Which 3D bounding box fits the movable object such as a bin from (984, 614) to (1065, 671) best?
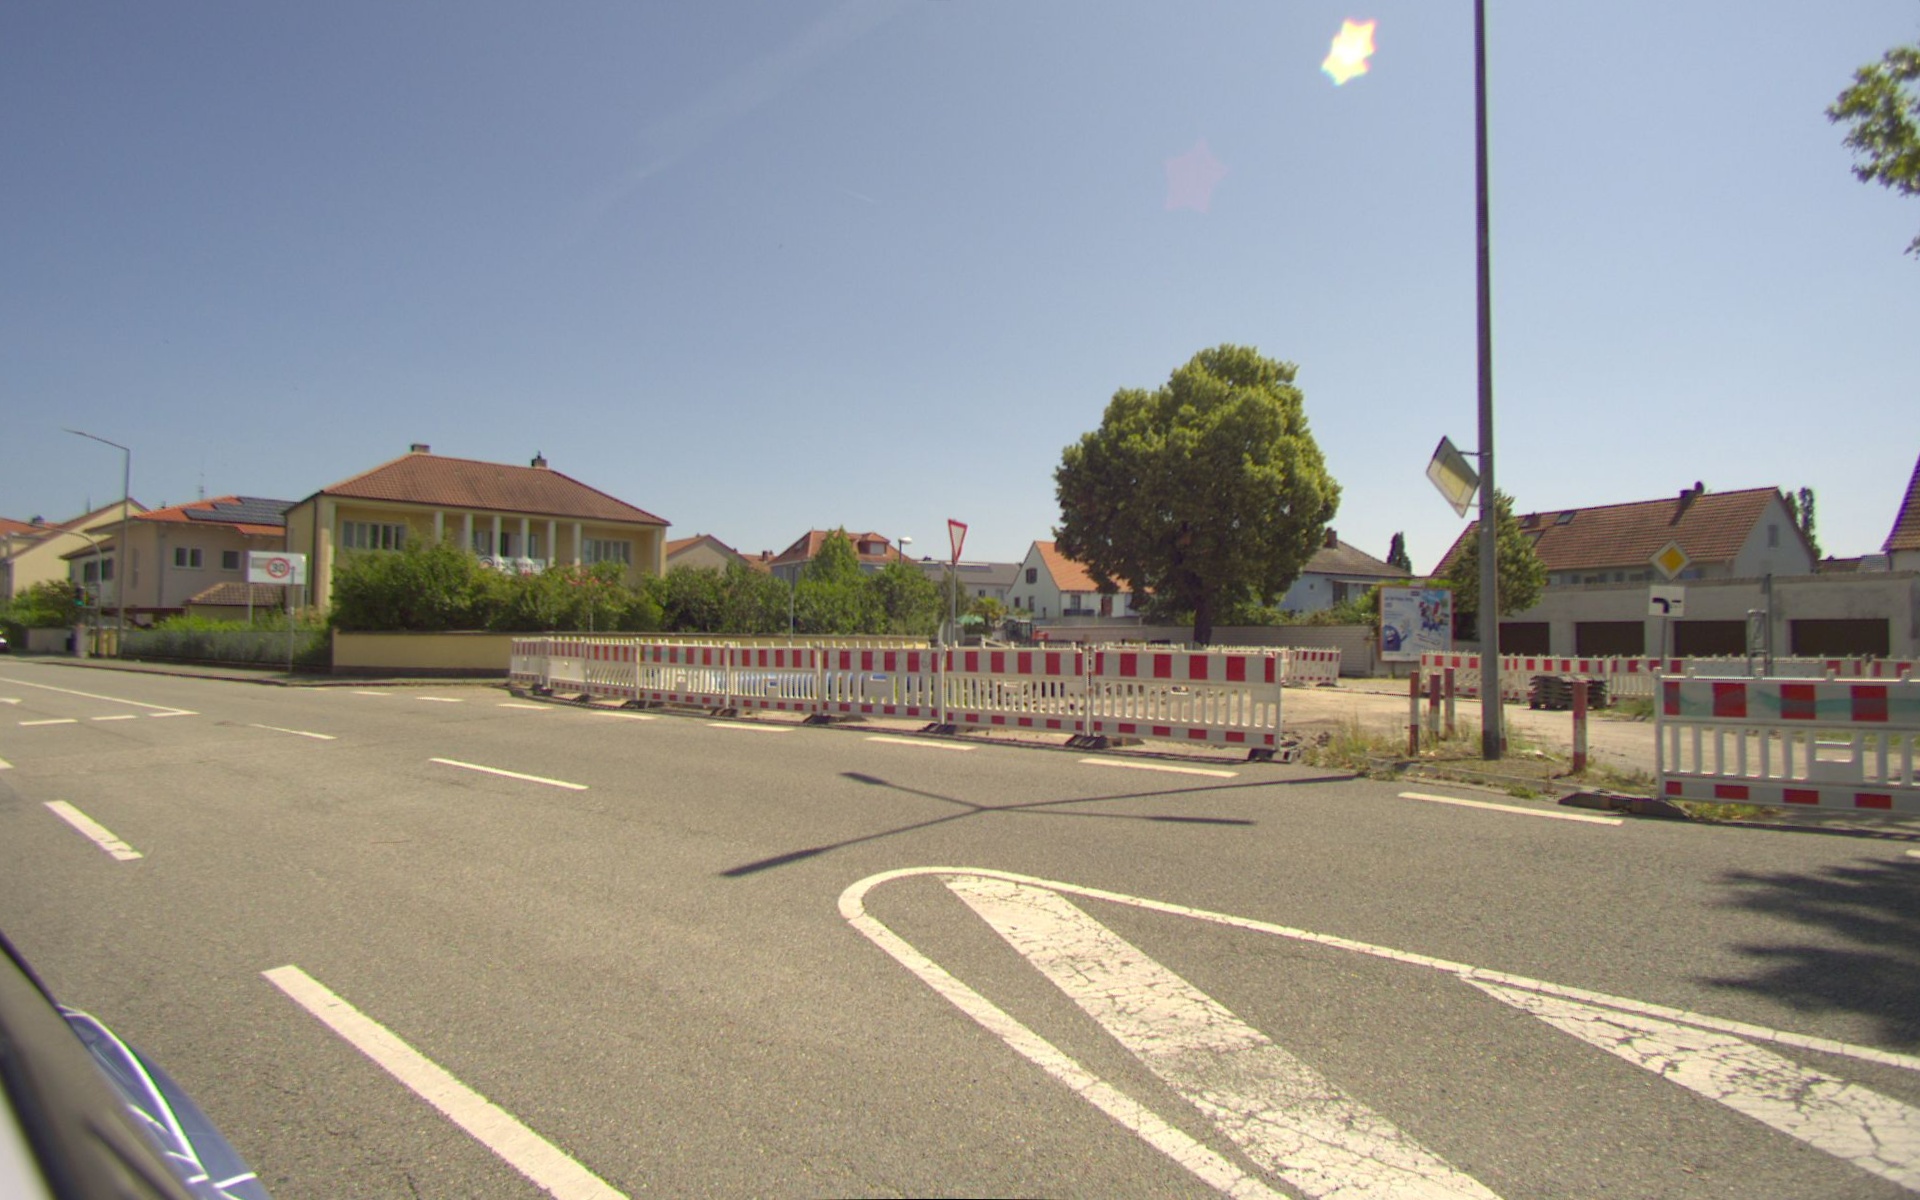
[{"bbox_3d":[3.222,2.135,51.103,2.239,2.756,3.942,2,-3,-29],"label":"movable object such as a bin"}]
